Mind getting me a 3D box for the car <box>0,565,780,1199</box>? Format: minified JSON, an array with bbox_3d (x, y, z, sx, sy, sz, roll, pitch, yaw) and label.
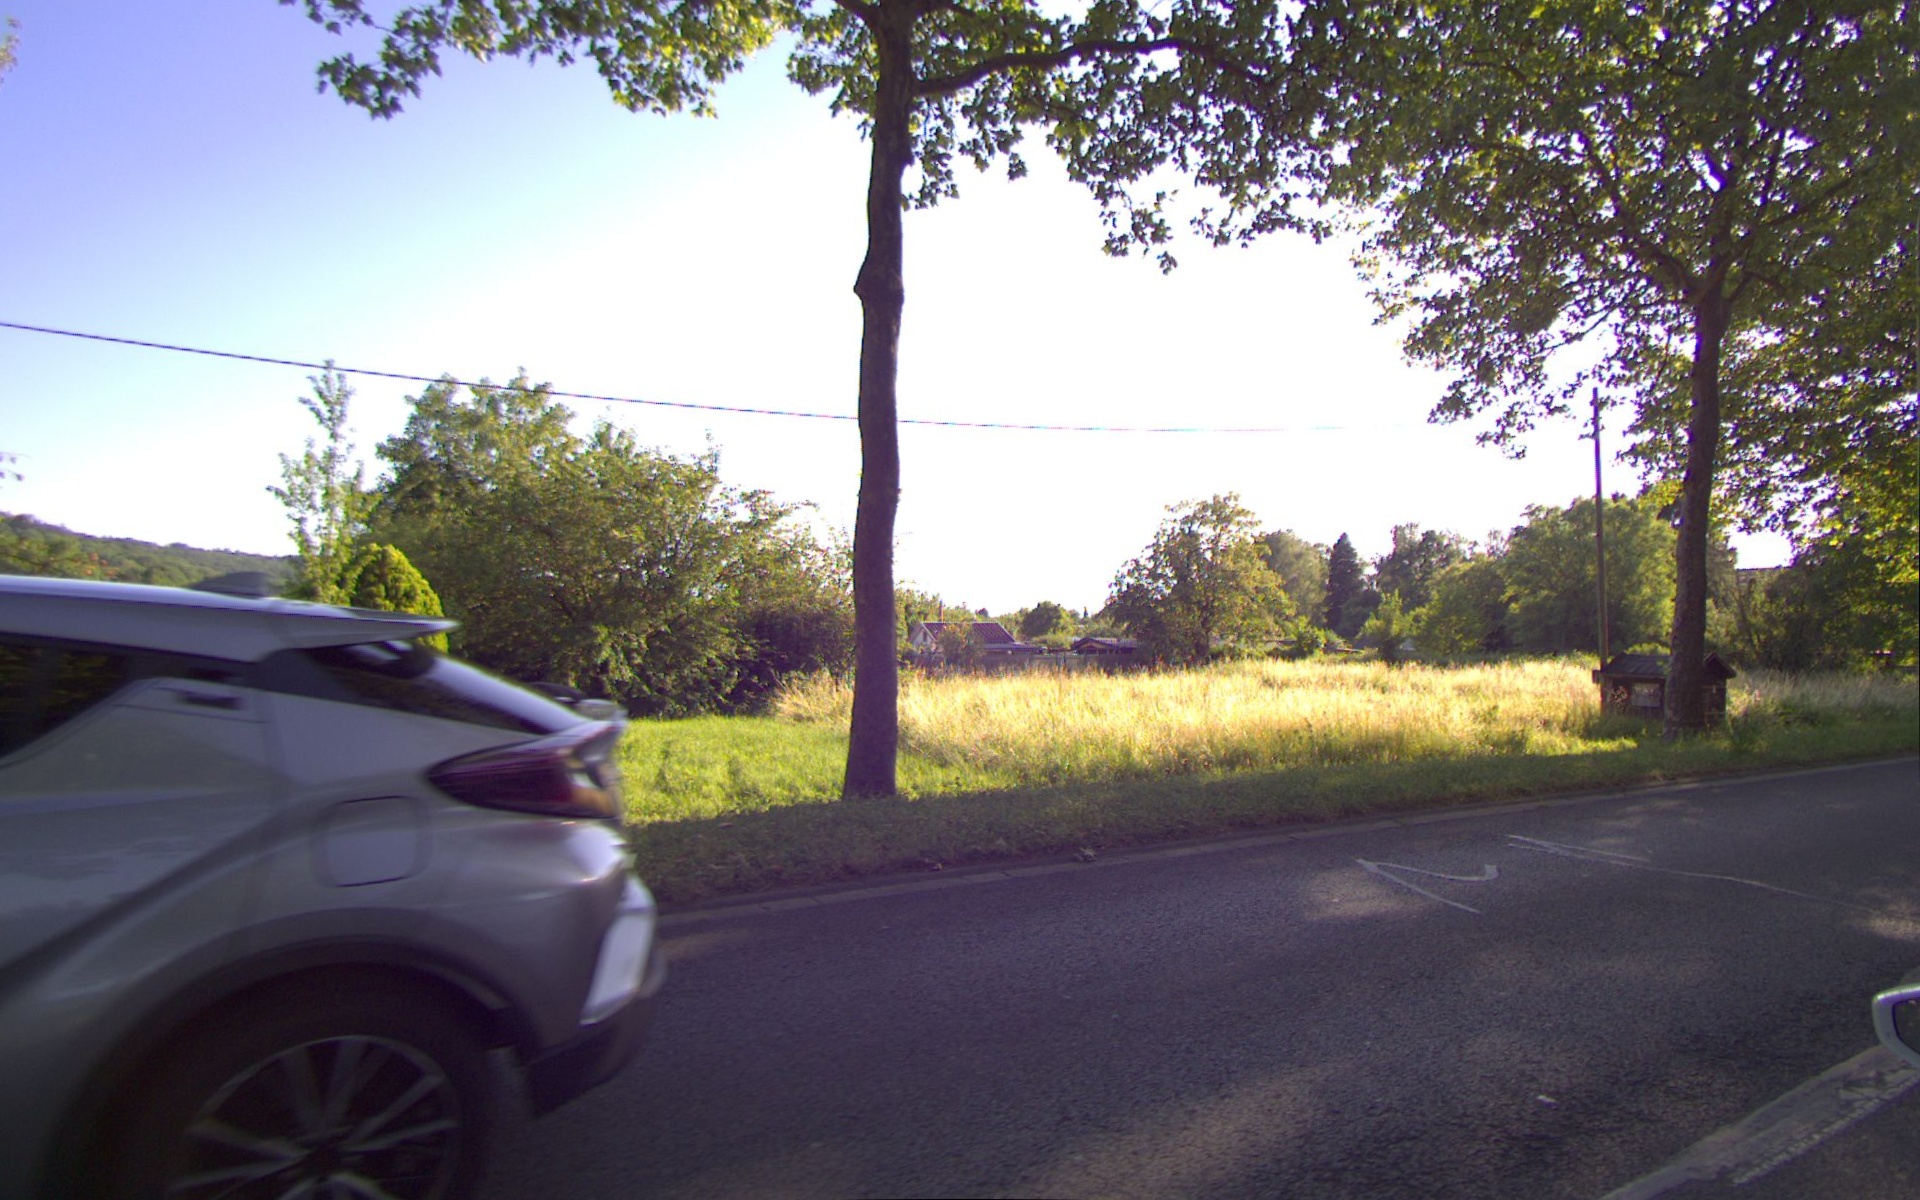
[{"bbox_3d":[-2.589,0.681,2.221,3.954,1.525,1.707,3,-1,-30],"label":"car"}]
